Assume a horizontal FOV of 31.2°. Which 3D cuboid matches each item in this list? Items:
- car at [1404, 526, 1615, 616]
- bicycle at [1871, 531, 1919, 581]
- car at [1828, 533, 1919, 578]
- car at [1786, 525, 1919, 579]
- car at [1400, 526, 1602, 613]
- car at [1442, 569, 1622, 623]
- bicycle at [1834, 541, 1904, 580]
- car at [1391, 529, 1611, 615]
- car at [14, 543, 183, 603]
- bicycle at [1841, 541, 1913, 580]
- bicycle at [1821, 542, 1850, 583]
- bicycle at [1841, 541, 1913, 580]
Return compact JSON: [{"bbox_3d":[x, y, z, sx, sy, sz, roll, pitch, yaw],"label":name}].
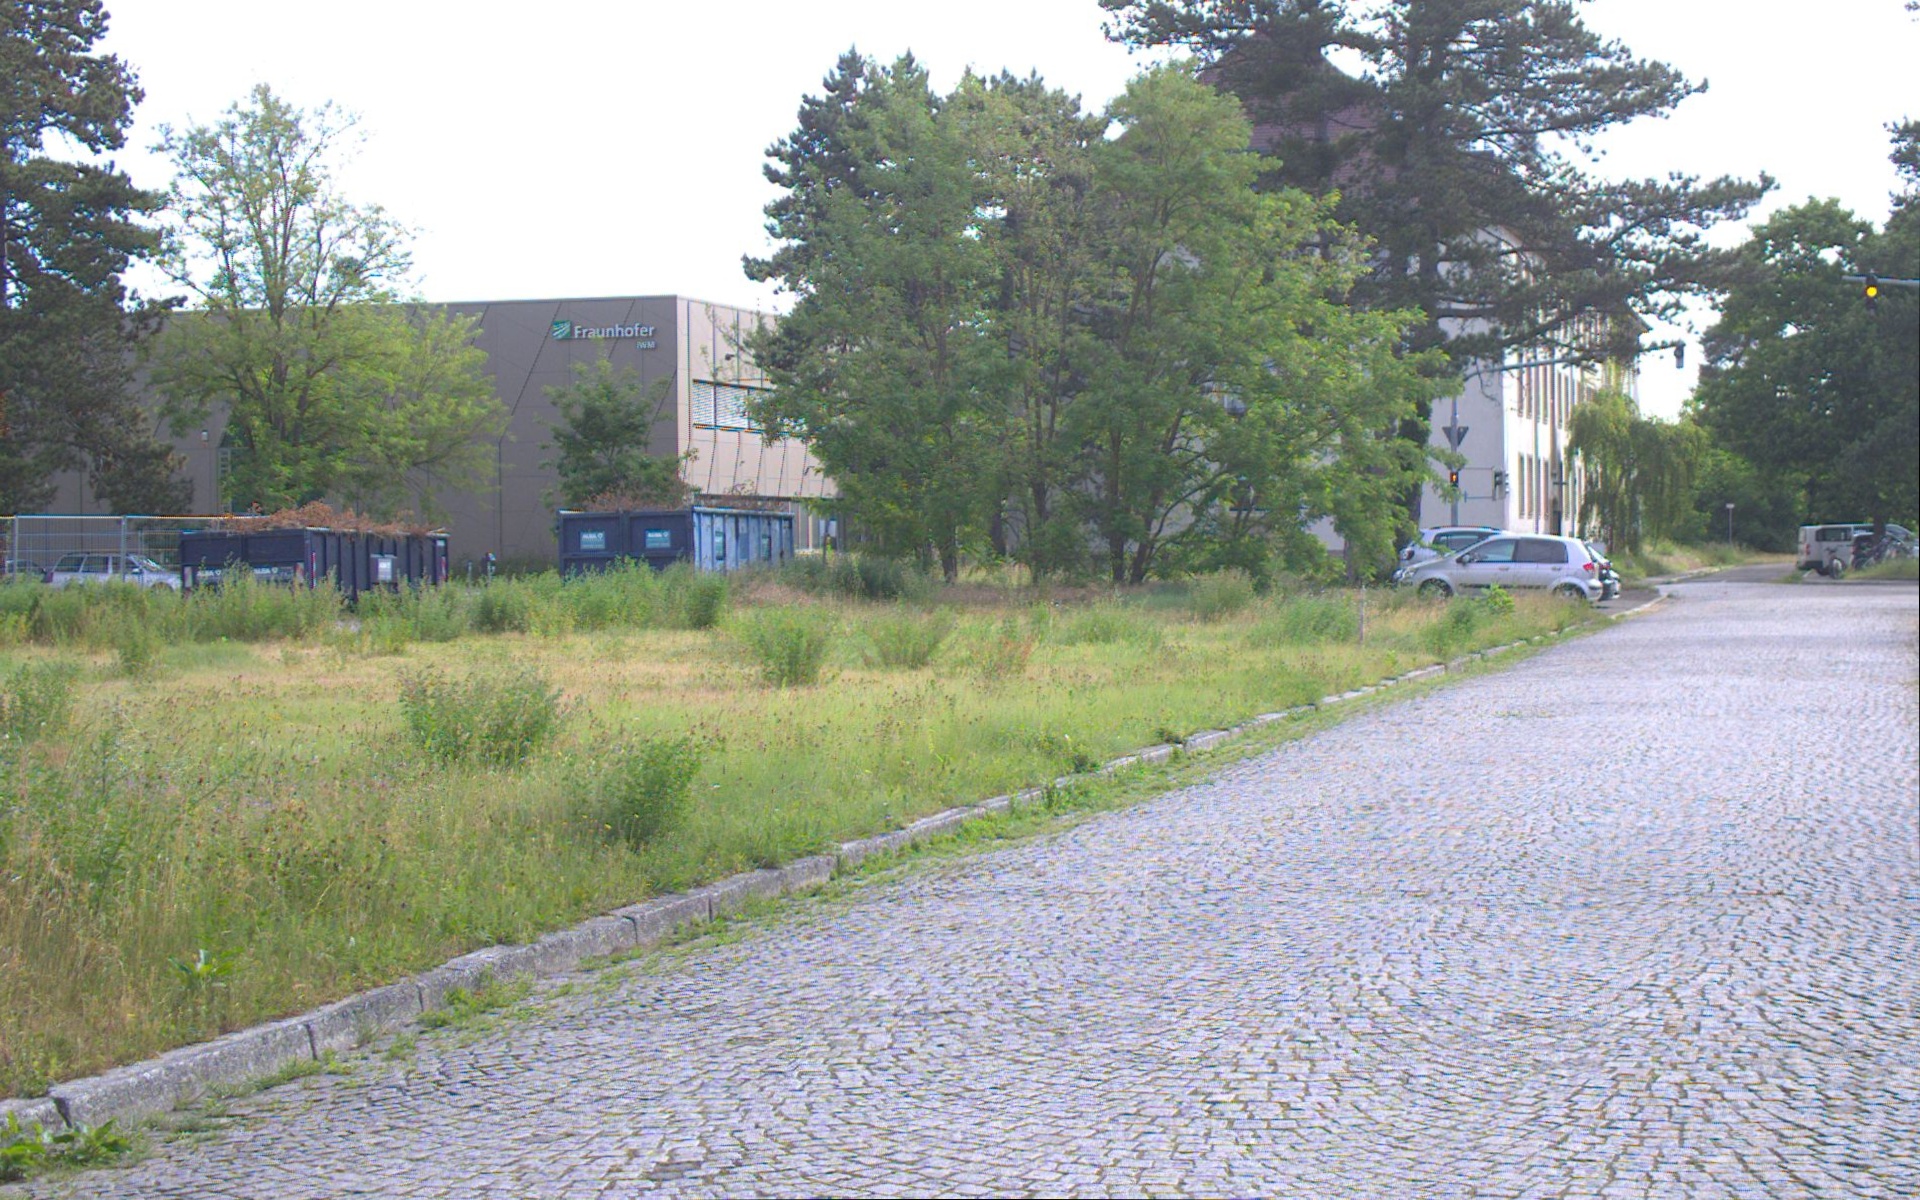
[{"bbox_3d":[10.676,-0.572,66.858,3.988,1.700,1.999,0,1,9],"label":"car"},{"bbox_3d":[30.728,-1.434,111.647,2.161,1.610,0.812,0,1,9],"label":"bicycle"},{"bbox_3d":[33.590,-1.616,124.589,3.988,1.638,1.999,0,1,9],"label":"car"},{"bbox_3d":[33.492,-1.786,128.009,5.051,2.007,2.000,0,1,5],"label":"car"},{"bbox_3d":[10.968,-0.628,69.875,3.988,1.744,1.926,0,1,8],"label":"car"},{"bbox_3d":[11.956,-0.086,71.933,3.672,1.090,1.646,0,1,9],"label":"car"},{"bbox_3d":[29.728,-1.285,112.444,2.161,1.264,0.812,0,1,9],"label":"bicycle"},{"bbox_3d":[10.116,-0.534,64.361,3.988,1.546,1.999,0,1,9],"label":"car"},{"bbox_3d":[-22.906,-0.730,91.447,3.989,1.548,1.807,0,1,15],"label":"car"},{"bbox_3d":[29.502,-1.270,110.640,2.161,1.264,0.812,0,1,9],"label":"bicycle"},{"bbox_3d":[27.332,-1.172,107.339,0.810,1.264,1.971,0,1,16],"label":"bicycle"},{"bbox_3d":[29.648,-1.273,111.208,2.161,1.264,0.812,0,1,9],"label":"bicycle"}]
